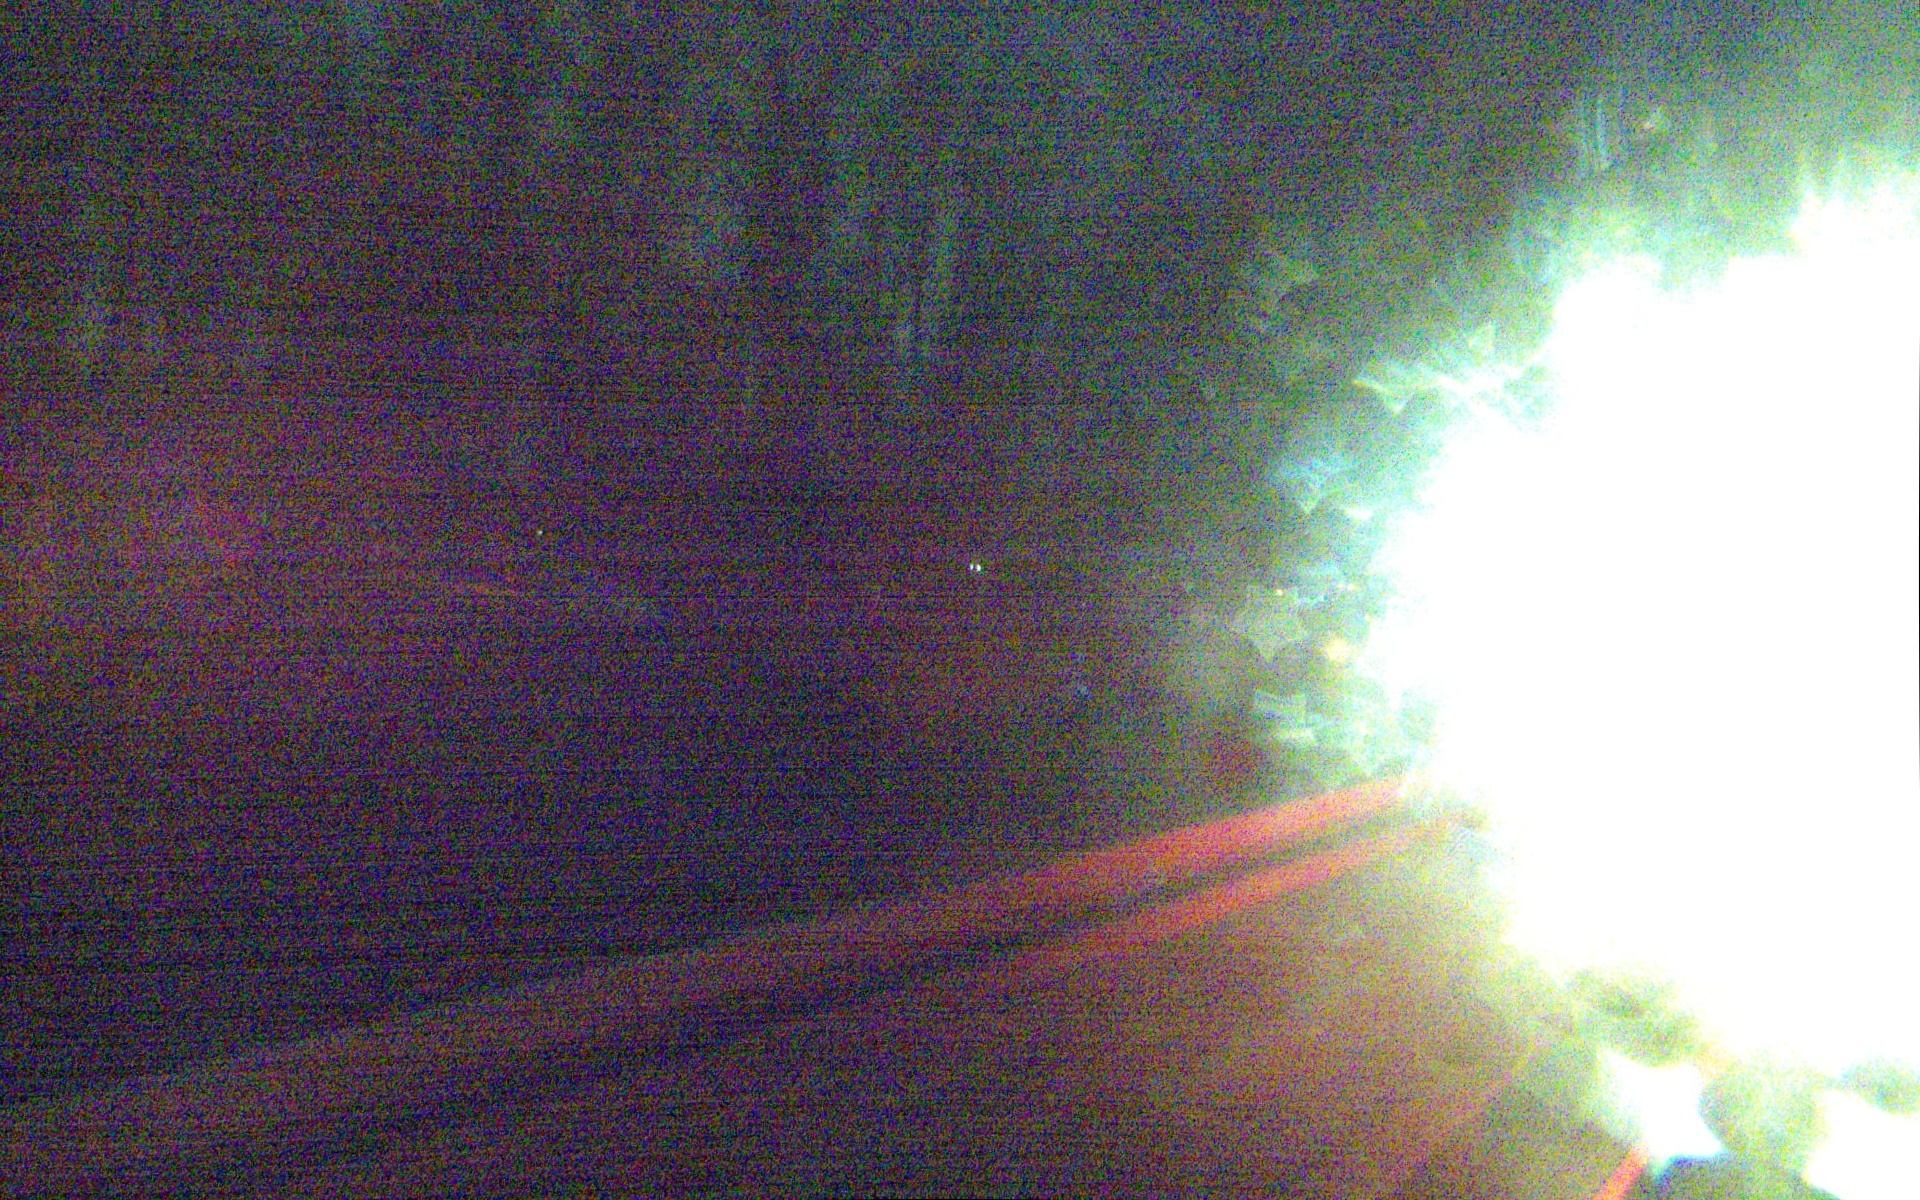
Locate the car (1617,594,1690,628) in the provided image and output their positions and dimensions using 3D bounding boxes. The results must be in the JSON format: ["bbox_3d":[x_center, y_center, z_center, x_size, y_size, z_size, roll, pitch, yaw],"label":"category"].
[{"bbox_3d":[31.907,0.533,46.673,1.828,1.468,3.847,-2,-2,21],"label":"car"}]

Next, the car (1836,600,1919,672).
[{"bbox_3d":[21.227,0.757,22.819,1.839,1.467,3.948,1,1,36],"label":"car"}]
